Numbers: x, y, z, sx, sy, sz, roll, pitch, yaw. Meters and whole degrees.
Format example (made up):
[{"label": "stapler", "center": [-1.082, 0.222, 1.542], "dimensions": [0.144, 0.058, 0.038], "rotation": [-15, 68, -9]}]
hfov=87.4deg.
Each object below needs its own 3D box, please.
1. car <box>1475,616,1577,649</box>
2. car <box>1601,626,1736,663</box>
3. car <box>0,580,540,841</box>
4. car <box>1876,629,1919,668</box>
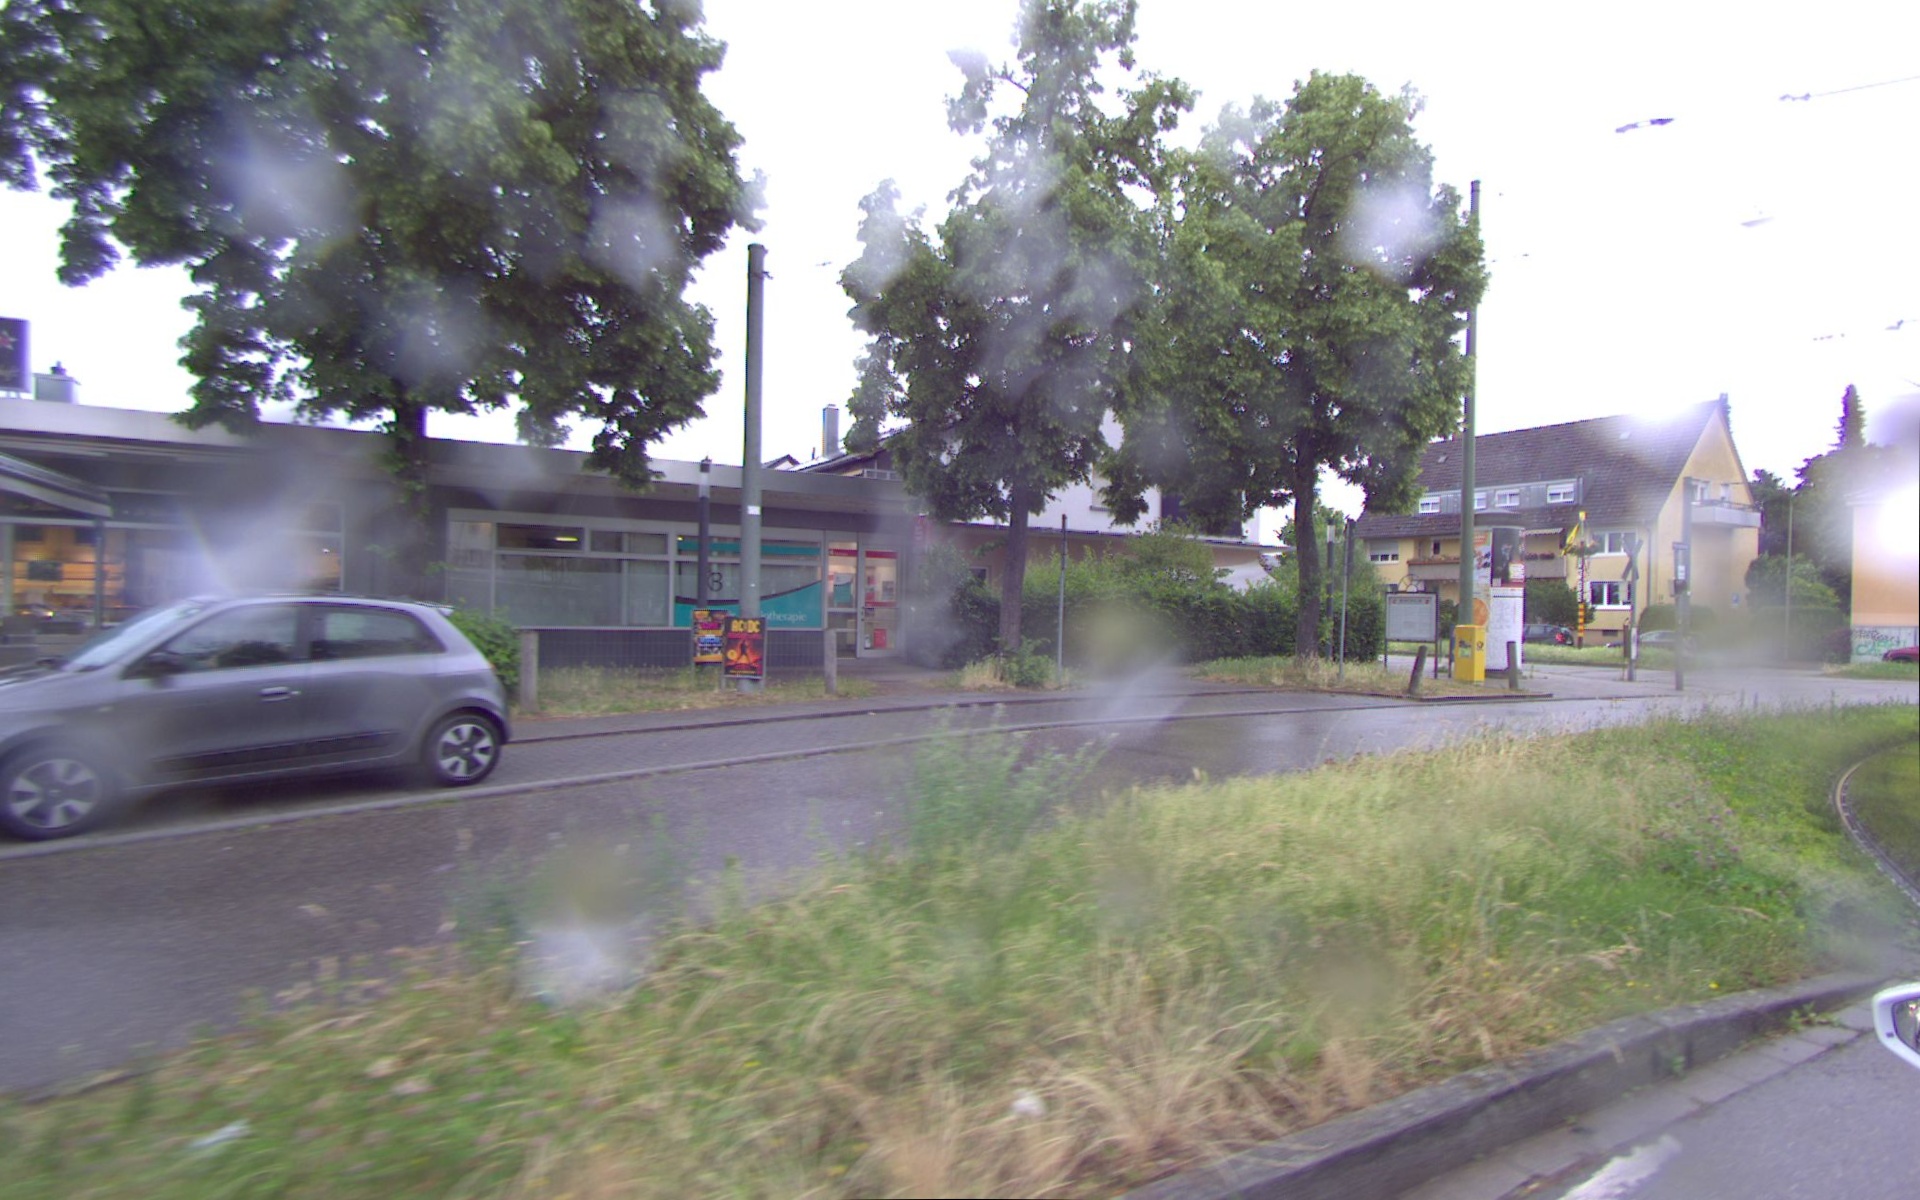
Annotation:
[{"label": "car", "center": [27.668, 1.570, 49.173], "dimensions": [1.742, 1.350, 3.961], "rotation": [1, 2, -34]}, {"label": "car", "center": [31.118, 1.940, 44.251], "dimensions": [1.946, 1.414, 4.464], "rotation": [1, 0, -33]}, {"label": "car", "center": [-5.312, 0.668, 7.620], "dimensions": [1.530, 1.523, 3.603], "rotation": [3, 2, 42]}, {"label": "car", "center": [36.255, 1.863, 36.836], "dimensions": [1.705, 1.357, 3.582], "rotation": [1, 2, -34]}]
